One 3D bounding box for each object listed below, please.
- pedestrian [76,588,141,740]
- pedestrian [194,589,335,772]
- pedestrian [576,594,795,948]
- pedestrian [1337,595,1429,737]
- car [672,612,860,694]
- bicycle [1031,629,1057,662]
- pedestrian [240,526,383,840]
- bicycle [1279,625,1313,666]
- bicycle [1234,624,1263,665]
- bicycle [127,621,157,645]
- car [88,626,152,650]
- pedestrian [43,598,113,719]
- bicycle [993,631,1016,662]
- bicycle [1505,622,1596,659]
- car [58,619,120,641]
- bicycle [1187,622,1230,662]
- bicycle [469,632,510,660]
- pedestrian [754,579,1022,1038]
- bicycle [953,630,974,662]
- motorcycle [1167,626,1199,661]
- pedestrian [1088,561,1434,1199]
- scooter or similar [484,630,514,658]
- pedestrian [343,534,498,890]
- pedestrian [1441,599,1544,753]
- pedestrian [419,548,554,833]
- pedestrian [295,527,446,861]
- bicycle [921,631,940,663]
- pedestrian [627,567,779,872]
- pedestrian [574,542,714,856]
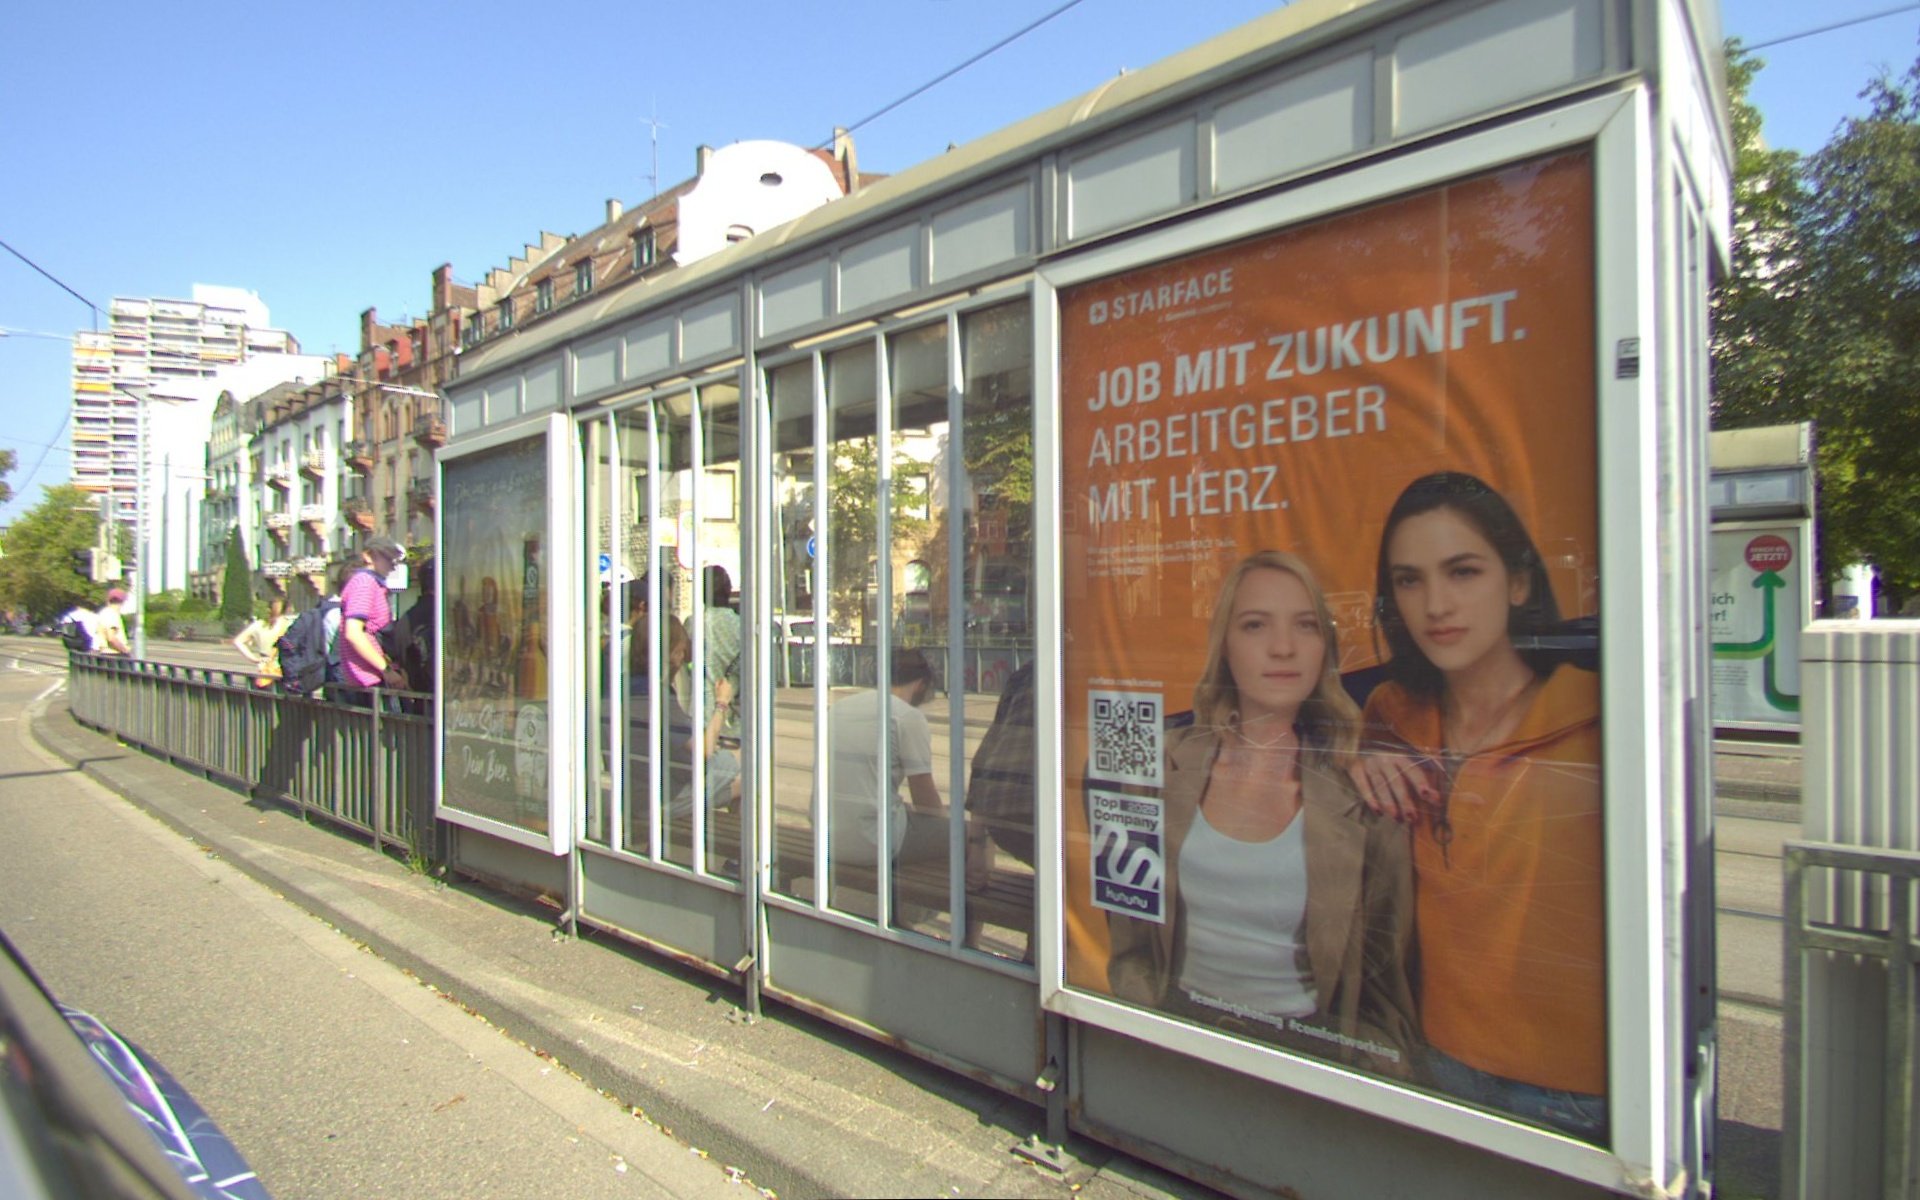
[{"bbox_3d":[-10.541,0.773,12.527,0.552,1.816,0.676,1,-2,-45],"label":"pedestrian"},{"bbox_3d":[-6.699,0.744,9.763,0.863,1.667,0.807,-1,-2,28],"label":"pedestrian"},{"bbox_3d":[-1.172,0.662,4.336,0.622,1.350,0.679,-2,-2,42],"label":"pedestrian"},{"bbox_3d":[4.569,0.689,10.927,0.718,1.467,0.669,-2,-2,43],"label":"pedestrian"},{"bbox_3d":[-4.465,1.136,22.917,4.483,1.663,1.971,-2,-2,44],"label":"car"},{"bbox_3d":[3.015,1.633,36.487,0.687,1.087,2.342,0,0,-1],"label":"bicycle"},{"bbox_3d":[-4.133,0.499,6.455,0.634,1.862,0.629,-2,-2,44],"label":"pedestrian"},{"bbox_3d":[11.684,1.568,35.268,0.859,1.381,2.294,-1,-1,13],"label":"bicycle"},{"bbox_3d":[10.221,1.561,35.932,0.859,1.381,2.294,-1,-1,13],"label":"bicycle"},{"bbox_3d":[-64.558,2.601,79.860,3.549,1.872,1.003,-1,0,37],"label":"bicycle"},{"bbox_3d":[-74.330,3.331,89.623,1.982,2.029,3.980,-1,-1,15],"label":"car"},{"bbox_3d":[-13.490,0.885,15.476,0.720,1.783,0.739,-2,-2,-45],"label":"pedestrian"},{"bbox_3d":[1.630,1.700,37.279,0.687,1.087,2.342,0,-1,-1],"label":"bicycle"},{"bbox_3d":[18.301,1.245,31.393,2.331,1.112,0.764,-1,-1,40],"label":"bicycle"},{"bbox_3d":[-81.473,2.797,94.769,1.982,2.029,3.980,-1,-1,15],"label":"car"},{"bbox_3d":[8.938,1.495,36.312,0.864,1.381,2.279,-1,-2,31],"label":"bicycle"},{"bbox_3d":[-19.297,1.884,41.490,1.888,1.112,0.540,-1,-2,29],"label":"bicycle"},{"bbox_3d":[-0.248,0.641,3.547,0.622,1.389,0.700,-2,-2,42],"label":"pedestrian"},{"bbox_3d":[0.110,1.659,36.881,0.687,1.087,2.342,0,0,-1],"label":"bicycle"},{"bbox_3d":[8.082,1.551,36.665,0.674,1.186,1.867,-1,0,27],"label":"motorcycle"},{"bbox_3d":[0.793,0.619,2.648,0.622,1.389,0.679,-2,-2,42],"label":"pedestrian"},{"bbox_3d":[-19.236,1.830,42.260,1.081,1.167,0.441,-1,-1,6],"label":"scooter or similar"},{"bbox_3d":[-2.924,0.567,5.487,0.607,1.777,0.582,-2,-2,44],"label":"pedestrian"},{"bbox_3d":[5.370,0.738,10.200,0.718,1.467,0.784,-2,-2,43],"label":"pedestrian"},{"bbox_3d":[-3.144,0.569,6.725,0.634,1.761,0.629,-2,-2,44],"label":"pedestrian"},{"bbox_3d":[-3.553,0.530,6.102,0.634,1.862,0.629,-2,-2,44],"label":"pedestrian"},{"bbox_3d":[-1.072,1.695,37.123,0.687,1.087,2.342,0,0,-1],"label":"bicycle"},{"bbox_3d":[-1.425,0.617,5.605,0.607,1.556,0.582,-2,-2,44],"label":"pedestrian"},{"bbox_3d":[-1.882,0.556,6.027,0.607,1.734,0.582,-2,-2,44],"label":"pedestrian"}]
